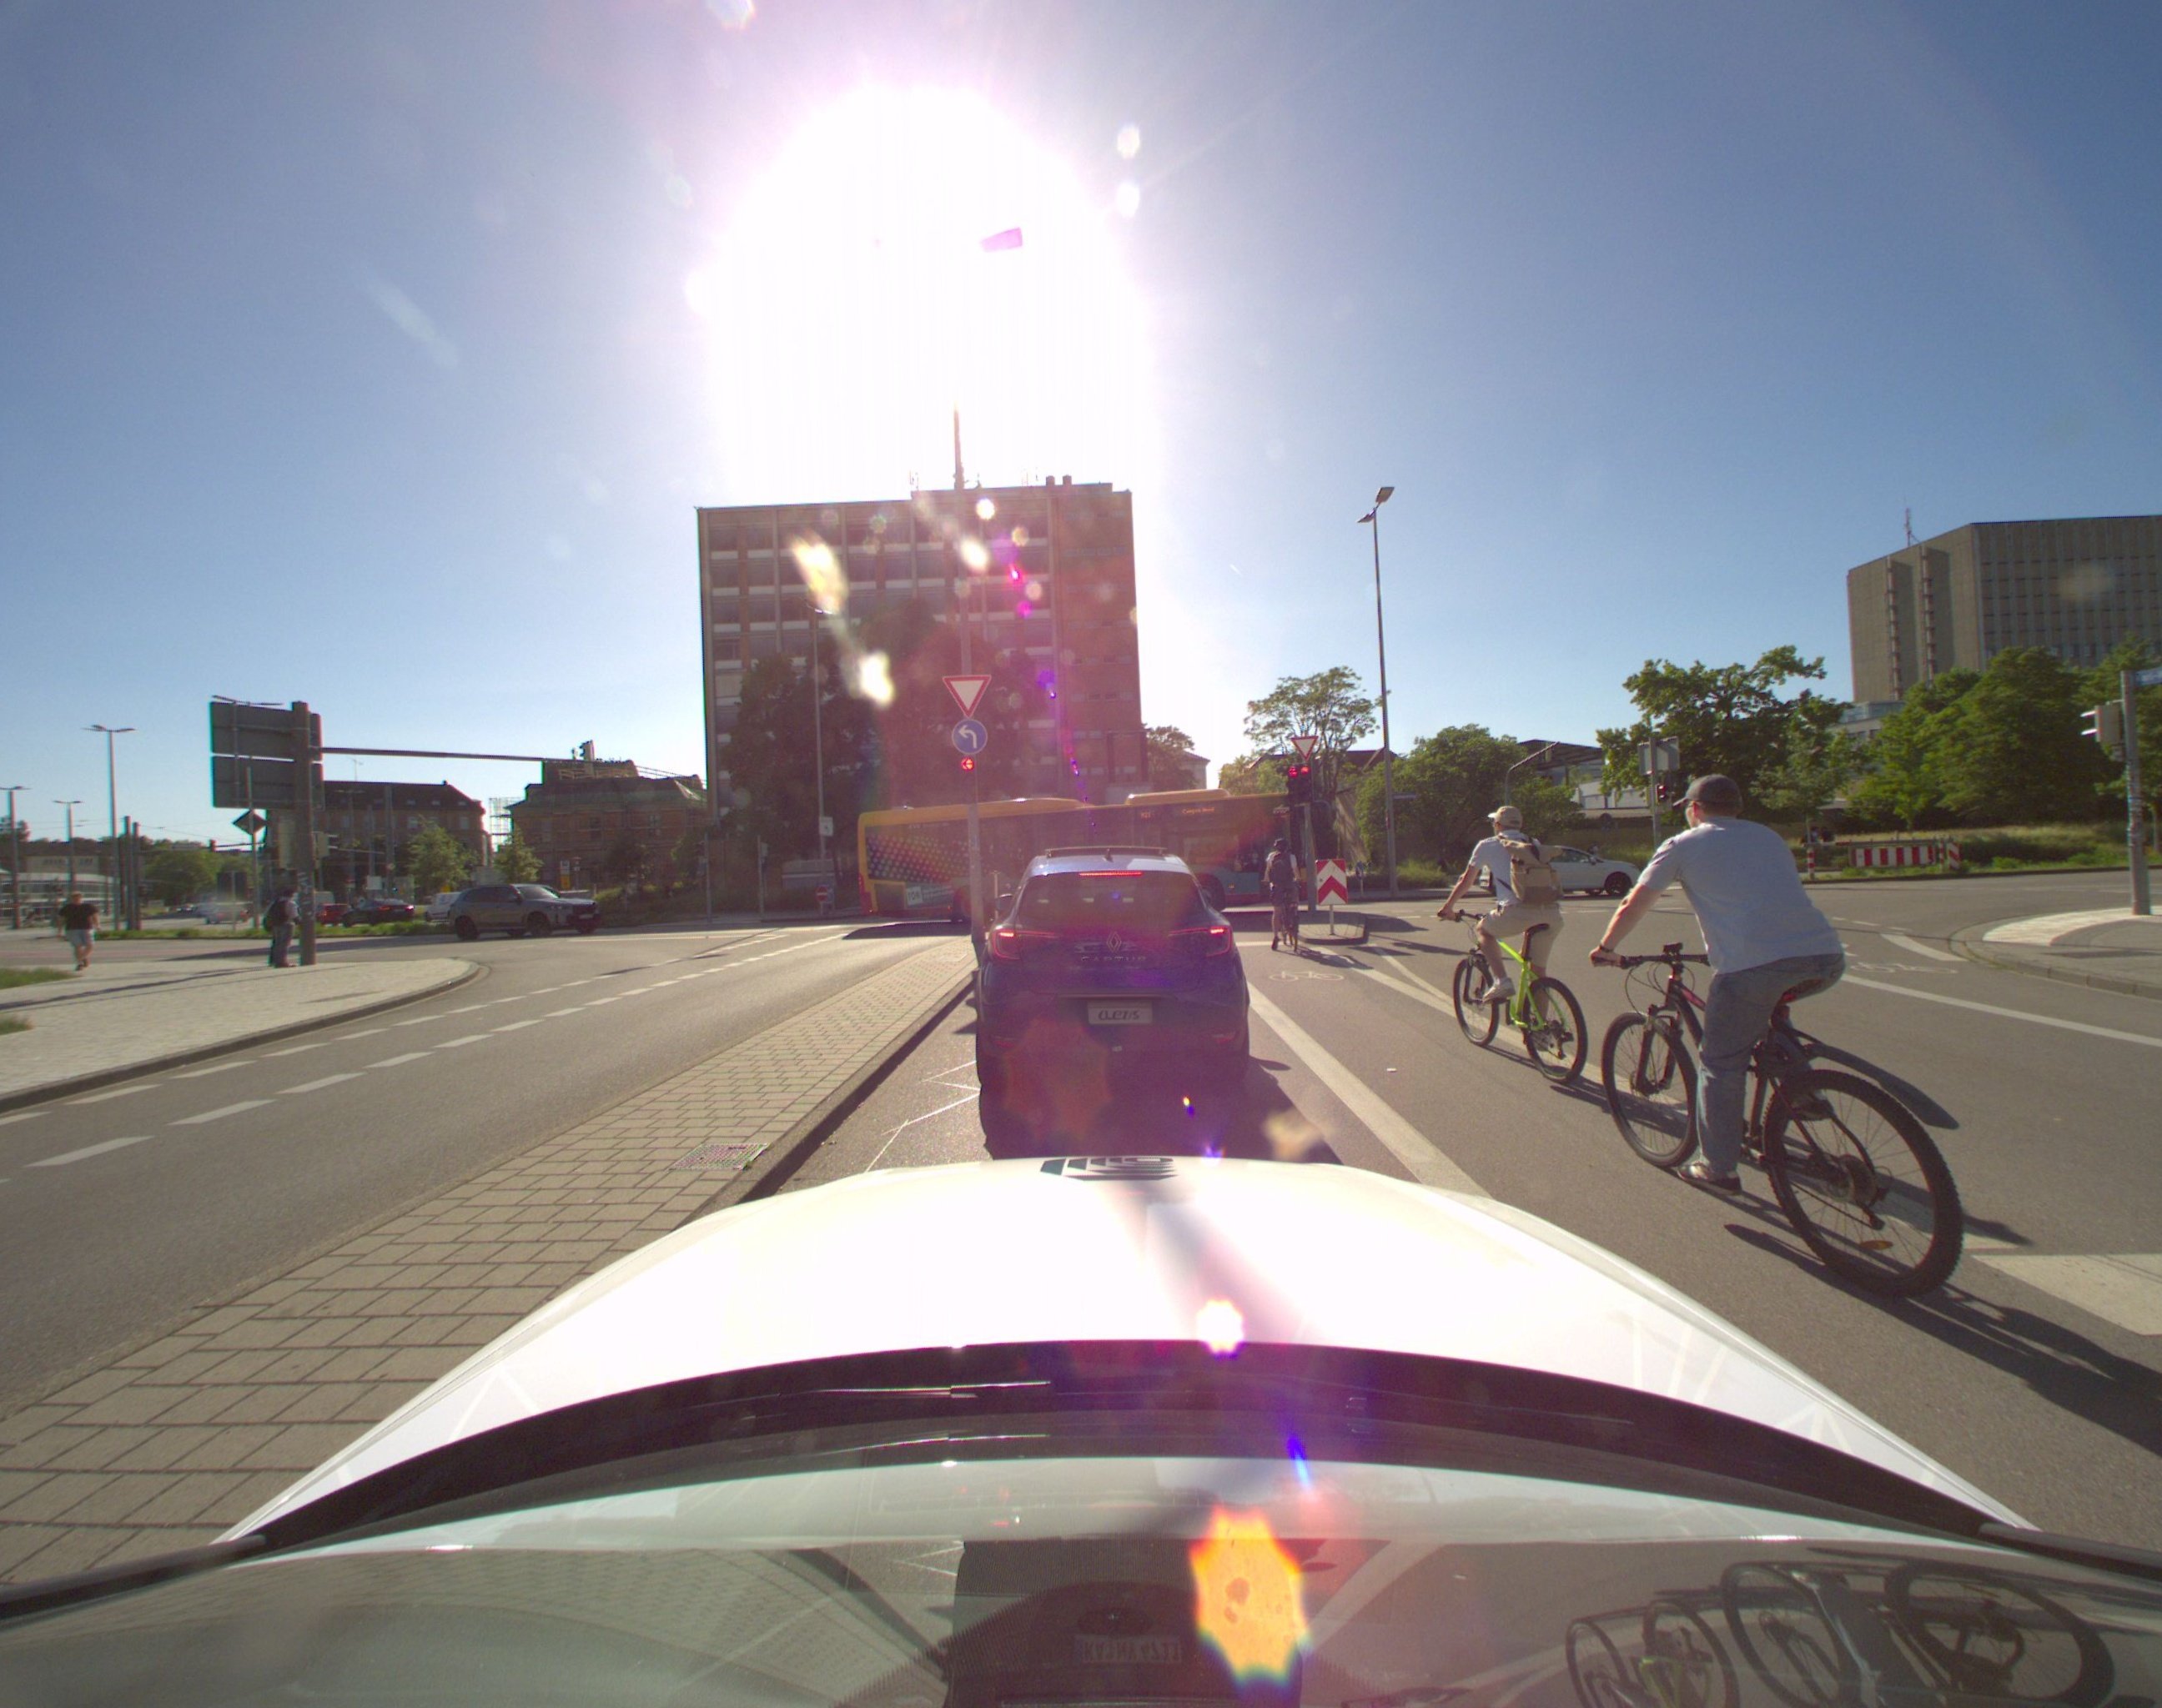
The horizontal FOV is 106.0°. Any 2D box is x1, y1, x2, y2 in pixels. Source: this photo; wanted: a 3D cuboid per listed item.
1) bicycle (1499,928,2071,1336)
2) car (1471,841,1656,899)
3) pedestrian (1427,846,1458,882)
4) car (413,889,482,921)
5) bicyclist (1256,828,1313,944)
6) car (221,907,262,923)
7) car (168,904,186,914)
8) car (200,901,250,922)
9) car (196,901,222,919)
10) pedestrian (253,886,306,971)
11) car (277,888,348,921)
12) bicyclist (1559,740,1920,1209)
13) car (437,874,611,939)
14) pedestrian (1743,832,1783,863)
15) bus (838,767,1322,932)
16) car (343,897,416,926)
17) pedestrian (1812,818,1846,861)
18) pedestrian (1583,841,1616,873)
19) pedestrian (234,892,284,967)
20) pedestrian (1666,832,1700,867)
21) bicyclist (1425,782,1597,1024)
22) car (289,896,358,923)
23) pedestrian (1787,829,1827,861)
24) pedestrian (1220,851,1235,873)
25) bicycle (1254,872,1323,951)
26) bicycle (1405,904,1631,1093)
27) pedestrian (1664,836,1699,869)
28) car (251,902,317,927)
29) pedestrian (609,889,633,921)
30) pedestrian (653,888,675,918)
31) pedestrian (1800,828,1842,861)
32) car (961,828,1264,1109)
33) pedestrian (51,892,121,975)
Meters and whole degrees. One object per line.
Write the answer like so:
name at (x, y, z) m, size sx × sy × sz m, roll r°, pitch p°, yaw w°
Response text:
bicycle at (2.649, 0.936, 3.451) m, size 0.745 × 1.050 × 1.903 m, roll -3°, pitch 0°, yaw 0°
car at (13.095, 0.423, 22.342) m, size 3.961 × 1.373 × 1.765 m, roll -3°, pitch 0°, yaw 11°
pedestrian at (19.169, 0.515, 43.242) m, size 1.288 × 1.855 × 0.969 m, roll -3°, pitch -1°, yaw 13°
car at (-43.568, 3.523, 55.973) m, size 4.950 × 2.013 × 2.085 m, roll -3°, pitch -1°, yaw 31°
bicyclist at (3.250, 0.504, 13.067) m, size 0.674 × 1.785 × 0.939 m, roll -1°, pitch -1°, yaw 0°
car at (-83.890, 6.069, 81.337) m, size 4.005 × 1.439 × 2.079 m, roll -3°, pitch 0°, yaw 33°
car at (-172.904, 10.517, 155.764) m, size 2.012 × 1.673 × 3.950 m, roll -2°, pitch -1°, yaw -44°
car at (-74.810, 5.028, 71.171) m, size 4.795 × 1.582 × 2.115 m, roll -3°, pitch 0°, yaw 33°
car at (-108.542, 6.935, 101.394) m, size 2.078 × 2.013 × 3.950 m, roll -2°, pitch -1°, yaw -45°
pedestrian at (-18.155, 1.671, 18.457) m, size 0.673 × 1.855 × 0.608 m, roll -3°, pitch -1°, yaw 25°
car at (-66.548, 4.368, 70.486) m, size 6.867 × 2.547 × 3.032 m, roll -3°, pitch -1°, yaw 34°
bicyclist at (2.652, 0.436, 3.397) m, size 0.737 × 1.674 × 0.865 m, roll -2°, pitch -1°, yaw 0°
car at (-18.239, 1.719, 26.745) m, size 4.693 × 1.861 × 2.012 m, roll -3°, pitch -1°, yaw 13°
pedestrian at (34.128, -0.317, 40.759) m, size 1.140 × 1.521 × 0.944 m, roll -2°, pitch -1°, yaw 7°
bus at (-0.077, 0.048, 21.748) m, size 12.327 × 3.570 × 3.264 m, roll -2°, pitch 0°, yaw 16°
car at (-41.908, 3.428, 48.666) m, size 3.771 × 1.518 × 2.012 m, roll -3°, pitch -1°, yaw 27°
pedestrian at (37.838, -0.727, 41.186) m, size 0.891 × 2.079 × 0.814 m, roll -2°, pitch -1°, yaw 5°
pedestrian at (25.978, 0.158, 40.801) m, size 1.078 × 1.521 × 0.933 m, roll -2°, pitch -1°, yaw 11°
pedestrian at (-19.315, 1.758, 19.138) m, size 0.627 × 1.697 × 0.608 m, roll -3°, pitch -1°, yaw 25°
pedestrian at (30.278, -0.218, 40.955) m, size 0.958 × 1.732 × 0.927 m, roll -2°, pitch -1°, yaw 4°
bicyclist at (3.044, 0.322, 5.877) m, size 0.672 × 1.583 × 1.081 m, roll 0°, pitch 0°, yaw 1°
car at (-48.005, 3.501, 51.594) m, size 3.771 × 1.518 × 2.012 m, roll -3°, pitch -1°, yaw 27°
pedestrian at (36.149, -0.455, 40.549) m, size 1.138 × 1.521 × 0.880 m, roll -3°, pitch -1°, yaw 5°
pedestrian at (13.477, 0.750, 74.948) m, size 1.152 × 2.013 × 1.165 m, roll -2°, pitch -1°, yaw 2°
bicycle at (3.285, 0.874, 13.031) m, size 0.613 × 1.138 × 1.826 m, roll -2°, pitch 0°, yaw 0°
bicycle at (3.045, 0.941, 5.919) m, size 0.669 × 1.050 × 1.844 m, roll 0°, pitch 0°, yaw 1°
pedestrian at (29.463, -0.070, 39.973) m, size 1.069 × 1.521 × 0.880 m, roll -2°, pitch -1°, yaw 6°
car at (-53.580, 4.087, 54.761) m, size 3.771 × 1.518 × 2.012 m, roll -3°, pitch -1°, yaw 27°
pedestrian at (-31.064, 3.441, 55.006) m, size 0.853 × 2.013 × 1.009 m, roll -3°, pitch -1°, yaw 23°
pedestrian at (-29.186, 3.442, 57.012) m, size 0.816 × 2.013 × 1.021 m, roll -3°, pitch -1°, yaw 25°
pedestrian at (36.113, -0.447, 39.755) m, size 1.123 × 1.521 × 0.992 m, roll -2°, pitch -1°, yaw 5°
car at (0.220, 0.683, 6.792) m, size 1.788 × 1.655 × 3.853 m, roll -1°, pitch 0°, yaw 1°
pedestrian at (-23.534, 1.861, 19.284) m, size 0.846 × 1.845 × 0.856 m, roll -2°, pitch -1°, yaw -39°
